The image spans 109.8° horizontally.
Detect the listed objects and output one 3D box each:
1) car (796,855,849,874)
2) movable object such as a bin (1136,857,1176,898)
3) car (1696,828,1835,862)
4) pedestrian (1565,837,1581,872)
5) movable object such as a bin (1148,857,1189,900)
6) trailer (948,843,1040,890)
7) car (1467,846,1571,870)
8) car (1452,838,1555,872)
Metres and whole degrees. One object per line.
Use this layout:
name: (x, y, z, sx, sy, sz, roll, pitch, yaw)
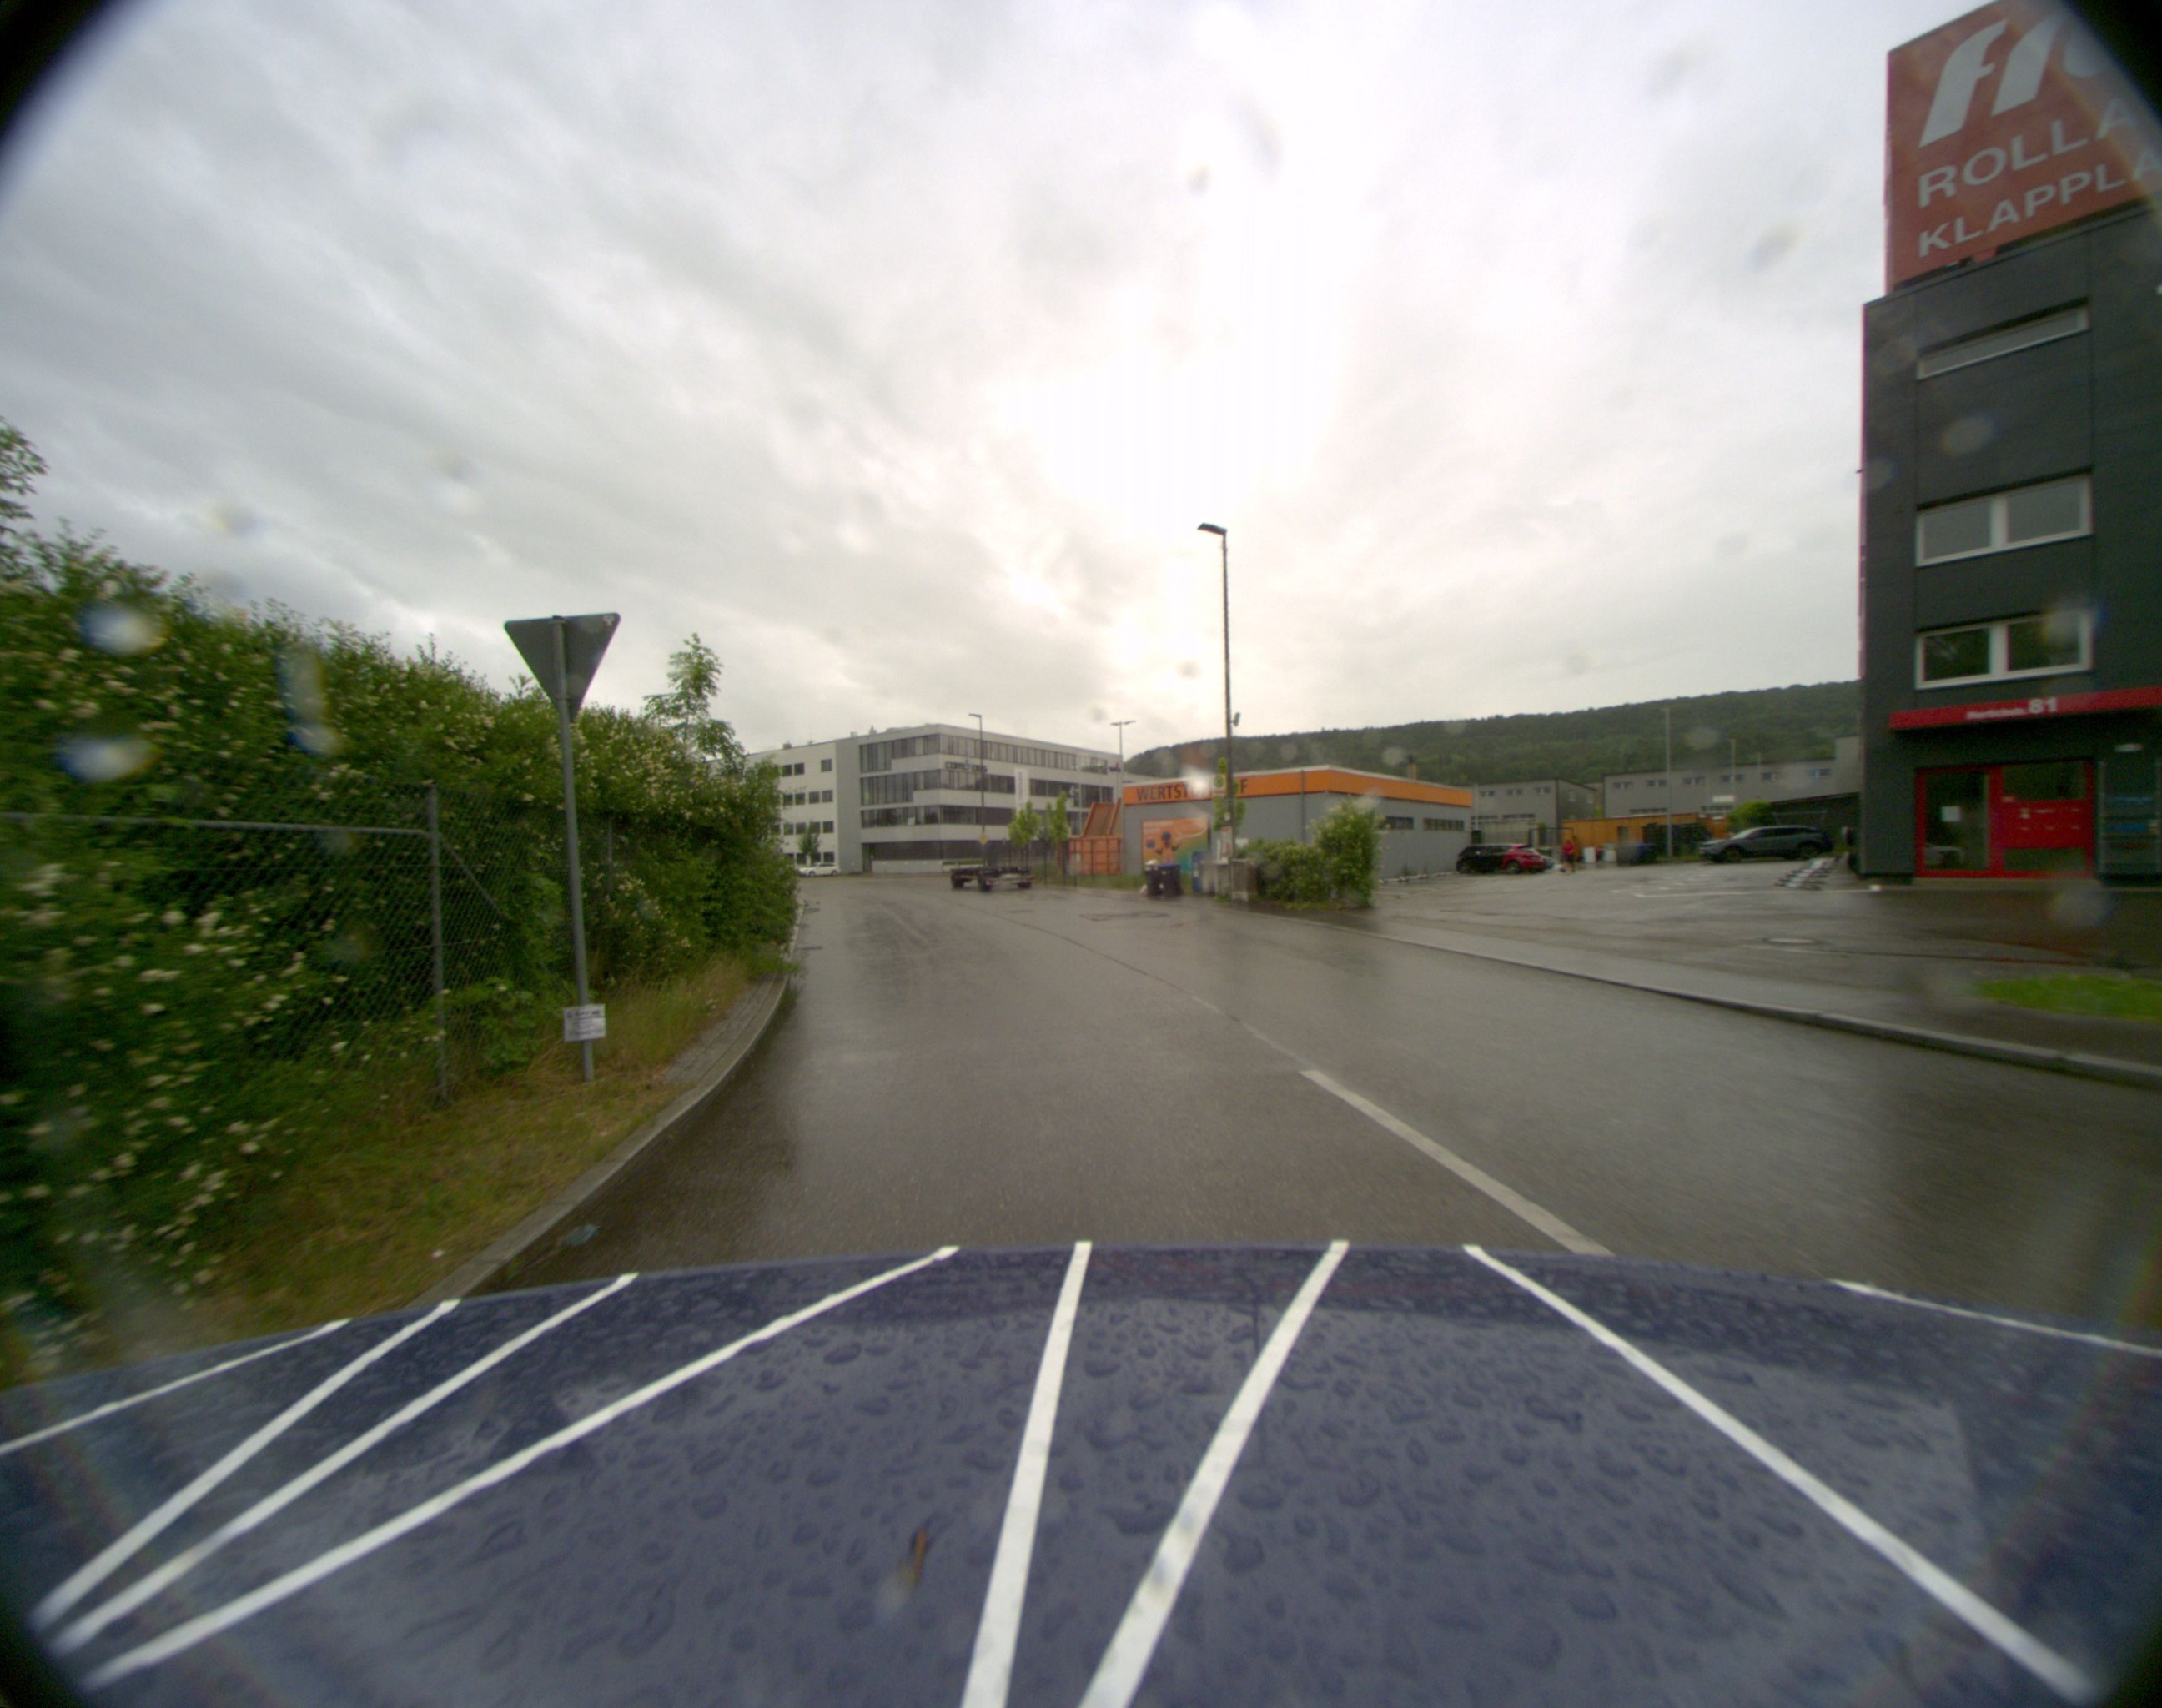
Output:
car: (-26.992, 1.085, 79.389, 1.994, 1.755, 4.775, -1, 2, 40)
movable object such as a bin: (2.505, 0.778, 25.438, 0.982, 1.315, 1.001, -1, 0, -18)
car: (30.342, -0.374, 33.857, 4.186, 1.379, 2.003, -1, 0, 25)
pedestrian: (23.221, 0.017, 35.853, 0.705, 1.662, 0.430, -2, 1, -42)
movable object such as a bin: (2.806, 0.770, 24.467, 0.982, 1.315, 1.001, -1, 0, -18)
trailer: (-4.439, 0.583, 37.437, 2.580, 2.002, 6.623, -3, 1, -24)
car: (22.421, 0.219, 39.047, 1.936, 1.154, 4.186, -1, 0, -33)
car: (20.574, 0.047, 37.183, 1.927, 1.565, 3.991, -1, 0, -26)
